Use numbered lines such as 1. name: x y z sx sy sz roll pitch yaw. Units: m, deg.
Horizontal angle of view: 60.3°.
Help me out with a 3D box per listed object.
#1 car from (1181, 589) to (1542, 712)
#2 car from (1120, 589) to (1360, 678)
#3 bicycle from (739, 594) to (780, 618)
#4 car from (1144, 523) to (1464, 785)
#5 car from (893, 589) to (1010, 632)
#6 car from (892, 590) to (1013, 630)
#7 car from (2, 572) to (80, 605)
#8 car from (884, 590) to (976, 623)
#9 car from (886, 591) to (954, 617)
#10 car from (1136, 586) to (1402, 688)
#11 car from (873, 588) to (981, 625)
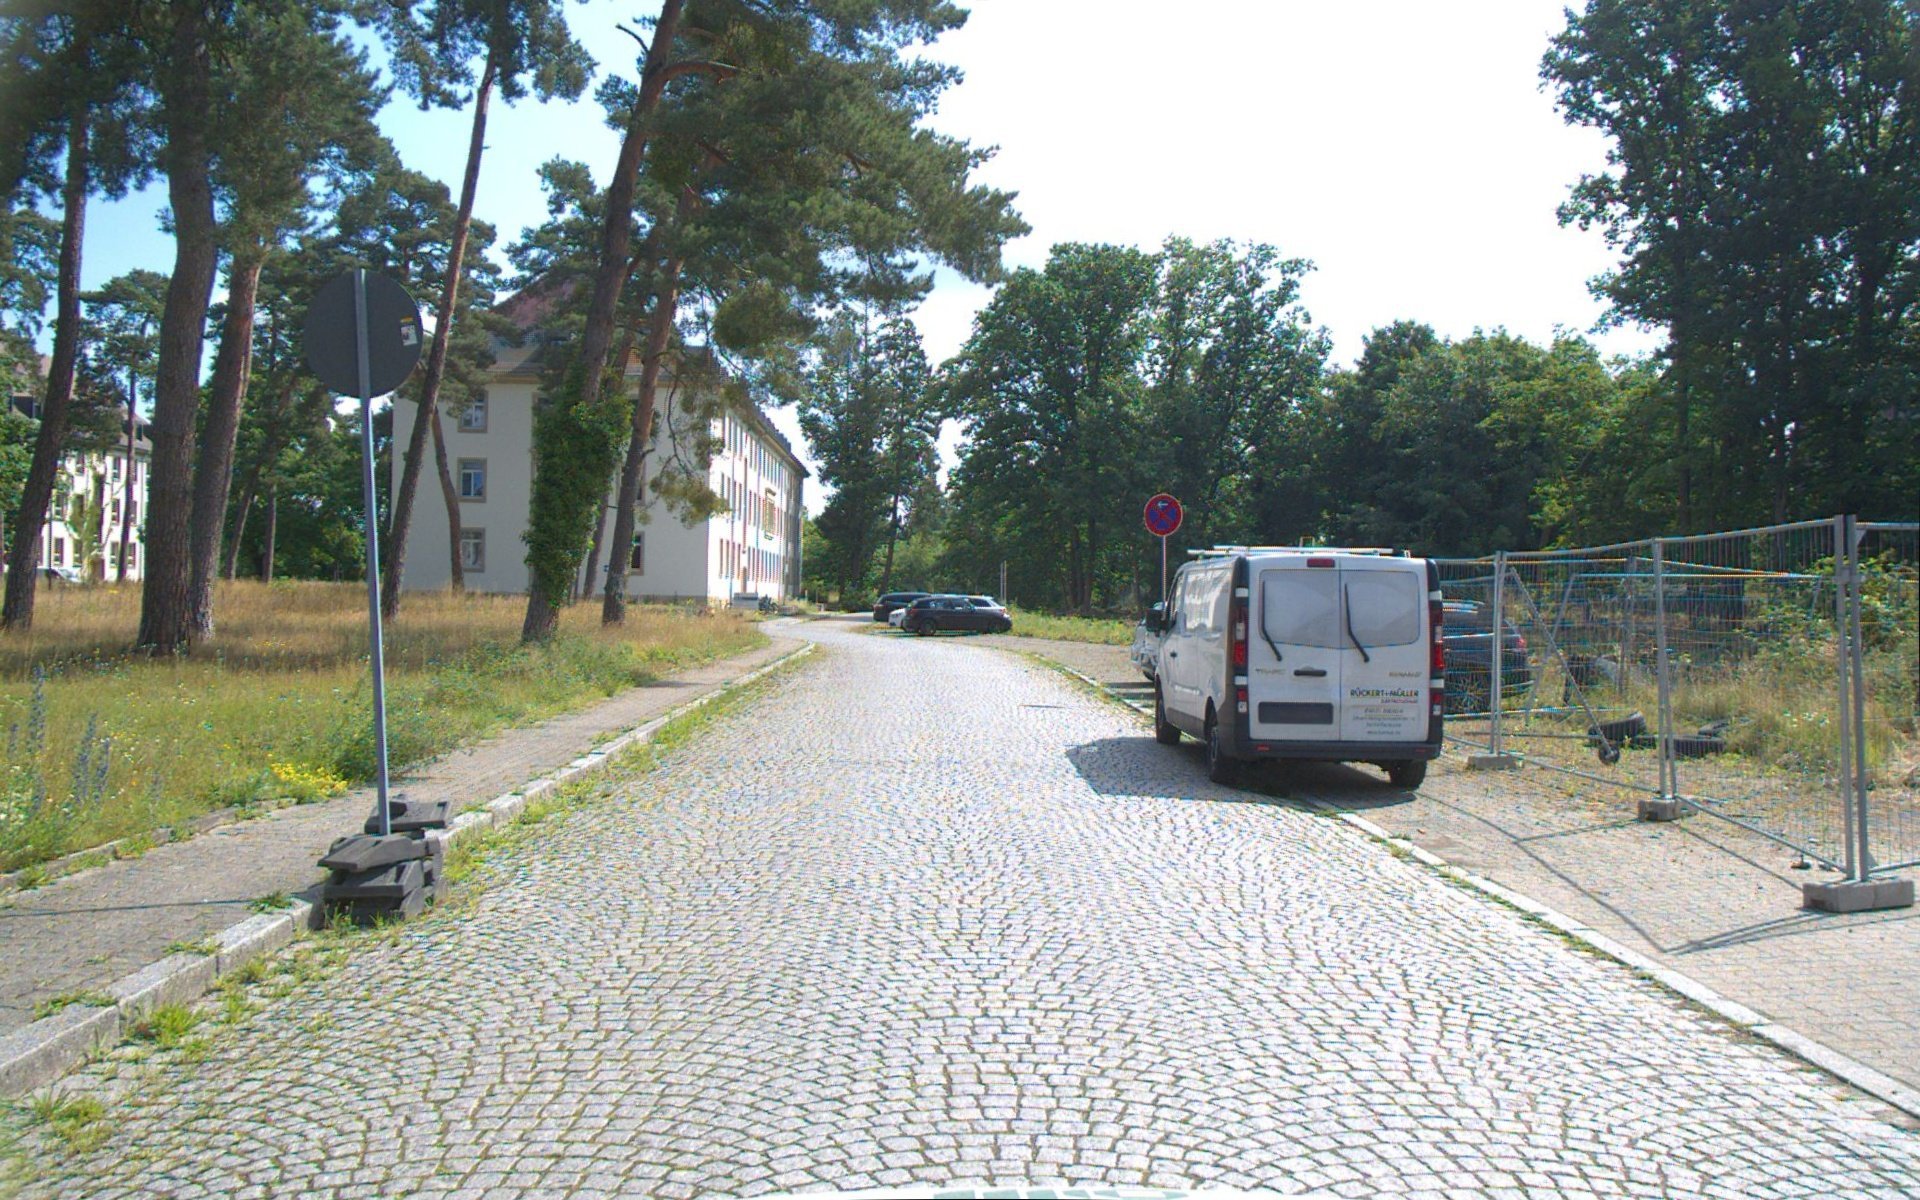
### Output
1. car: 5.315 0.643 22.177 4.368 1.501 1.743 -1 0 -6
2. car: 5.000 0.575 29.799 3.963 1.489 1.703 -1 0 -5
3. bicycle: -10.972 0.315 90.457 2.176 1.282 0.623 0 0 0
4. car: 3.068 0.433 16.080 1.875 2.089 5.678 0 0 -1
5. car: -0.341 0.387 63.301 4.246 1.526 1.826 -1 1 -10
6. car: -0.327 0.401 66.416 4.765 1.498 1.873 -1 1 -4
7. car: -58.291 -0.730 104.957 3.977 2.026 1.712 0 0 -1
8. car: -1.452 0.322 79.041 4.311 1.510 1.764 -1 -1 -4
9. car: -2.428 0.265 101.828 4.101 1.570 1.820 -1 -1 0
10. car: 4.942 0.579 26.736 3.908 1.533 1.745 -1 0 -5
11. car: -1.498 0.283 73.724 4.756 1.580 1.878 -1 -1 -4
